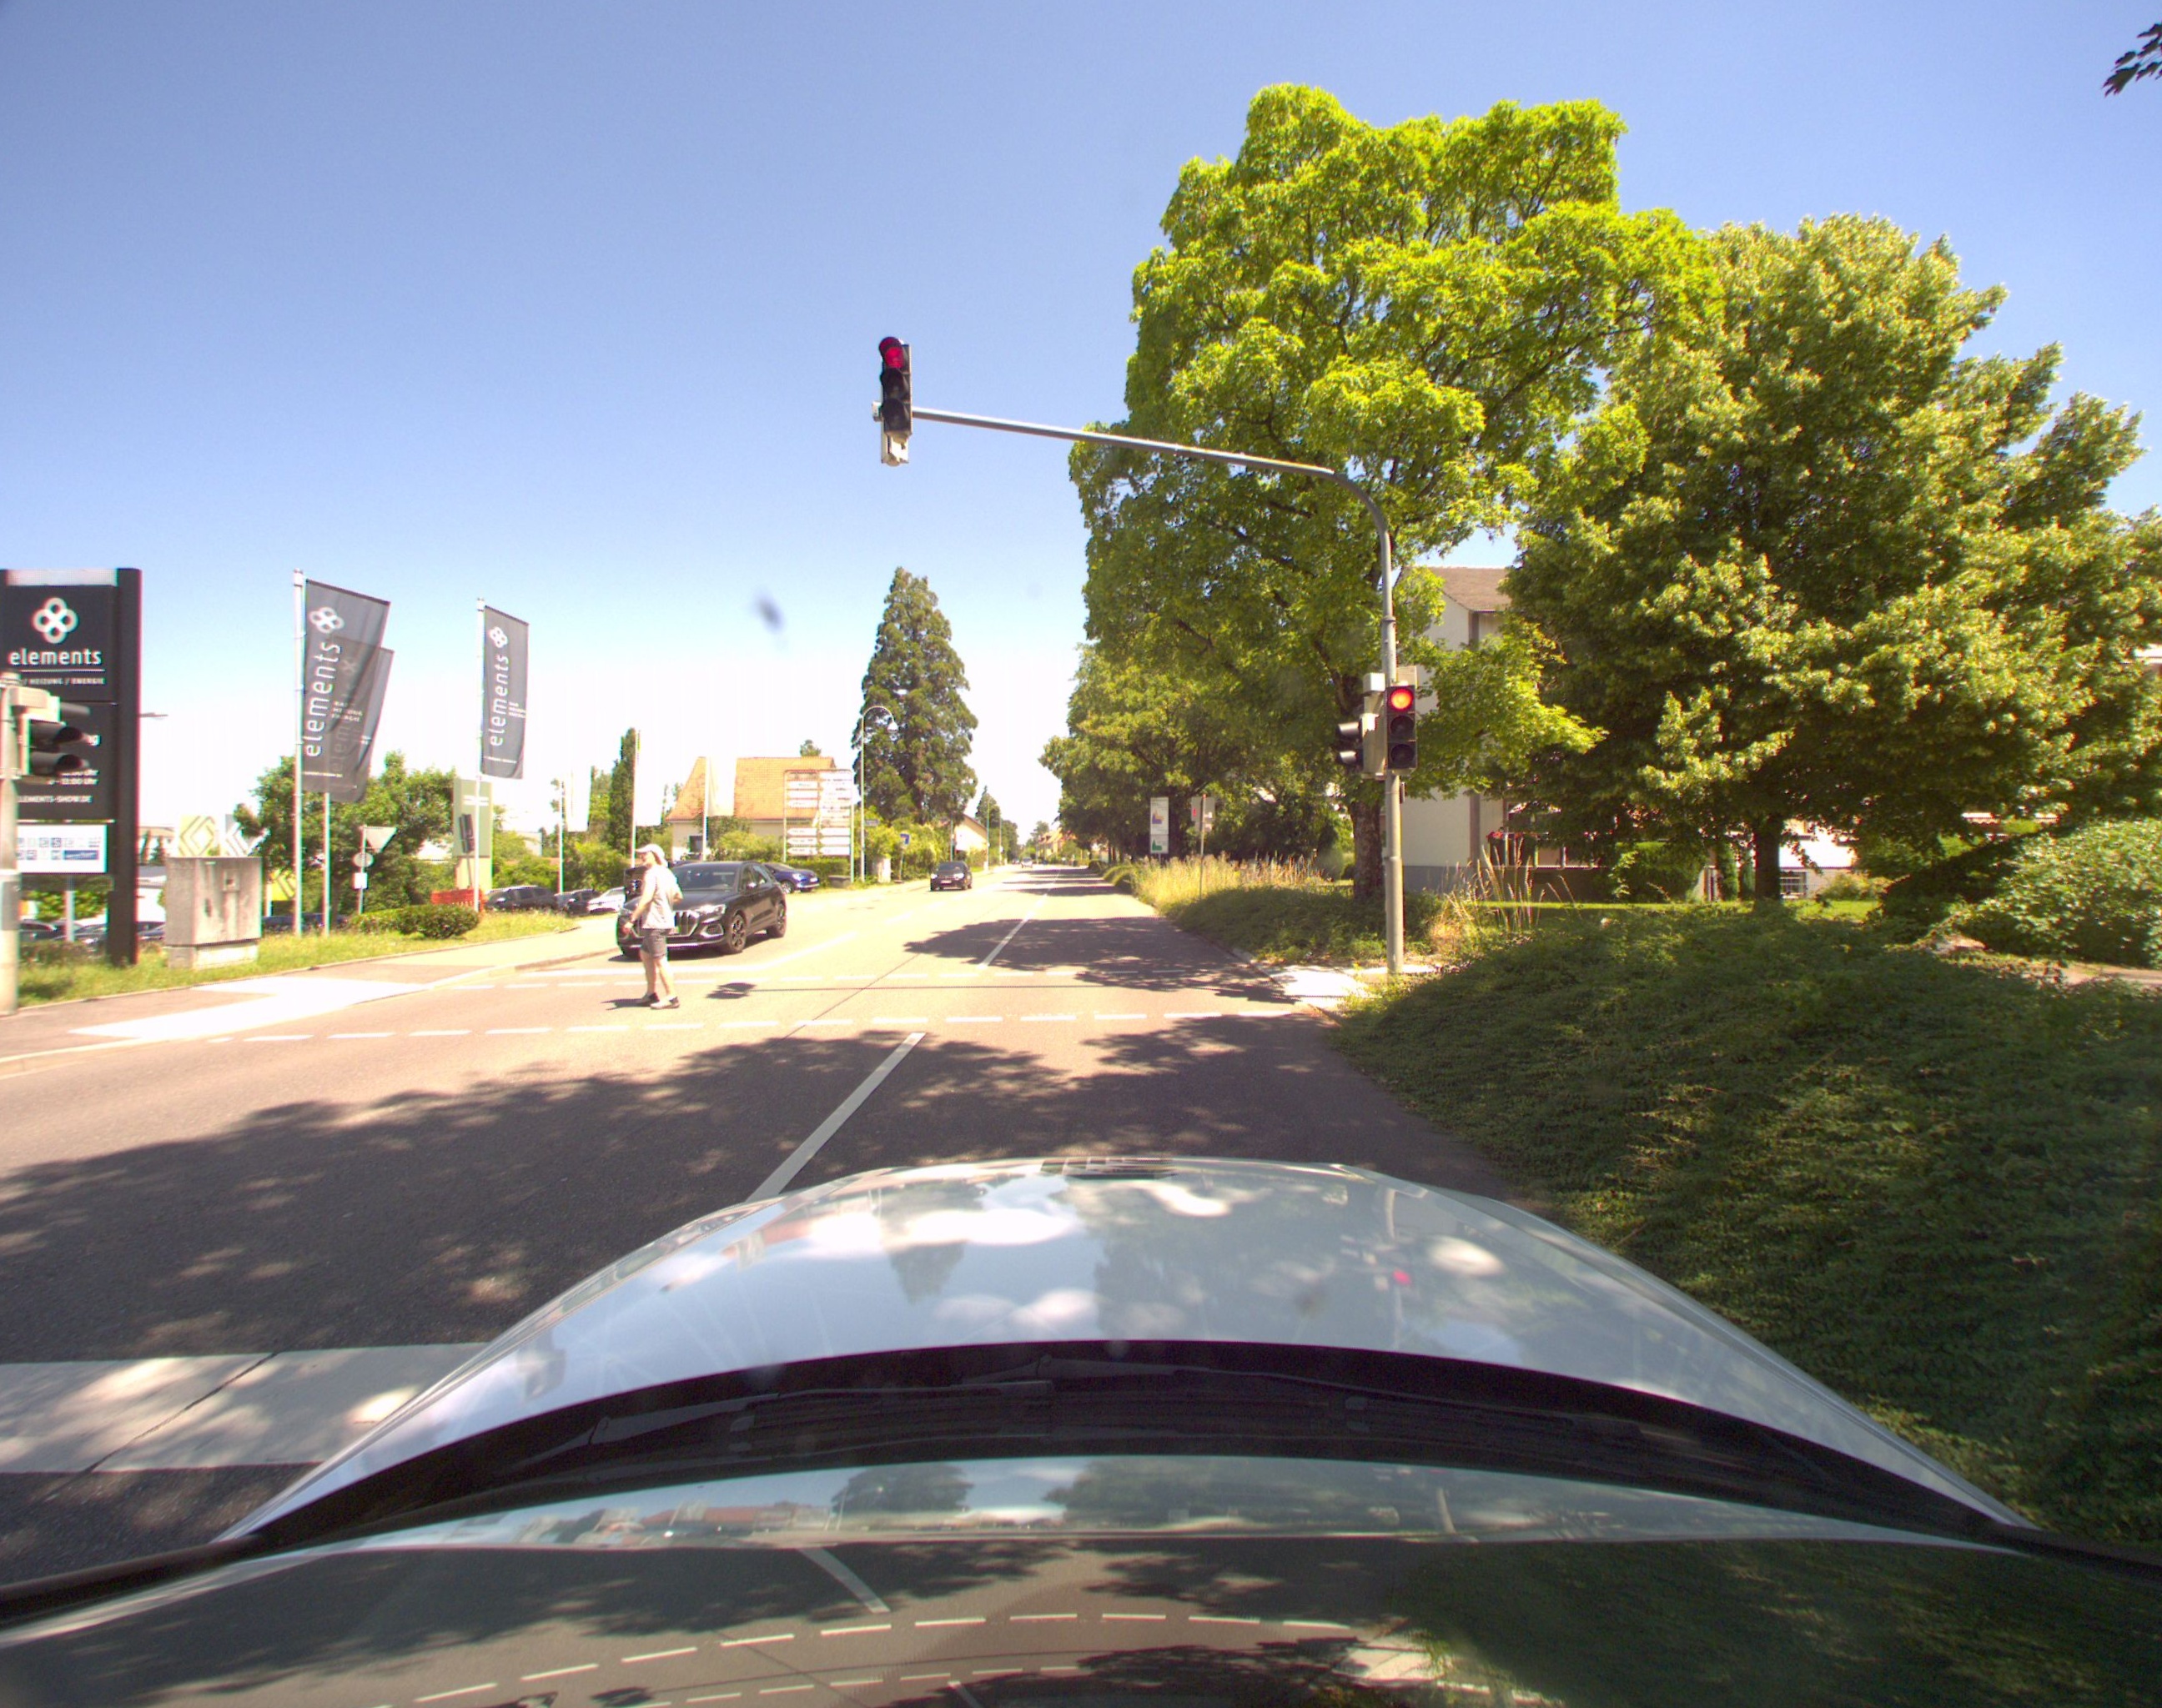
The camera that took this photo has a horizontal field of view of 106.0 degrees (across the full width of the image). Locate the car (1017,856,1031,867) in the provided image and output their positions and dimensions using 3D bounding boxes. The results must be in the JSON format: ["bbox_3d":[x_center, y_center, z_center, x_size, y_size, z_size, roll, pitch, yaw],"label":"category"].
[{"bbox_3d":[-9.338,1.234,133.116,1.804,1.762,4.571,0,0,1],"label":"car"}]

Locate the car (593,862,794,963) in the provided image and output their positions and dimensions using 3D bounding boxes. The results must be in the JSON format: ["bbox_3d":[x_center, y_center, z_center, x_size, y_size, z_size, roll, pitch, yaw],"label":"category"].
[{"bbox_3d":[-6.893,0.942,15.063,1.923,1.555,4.295,-1,0,-5],"label":"car"}]

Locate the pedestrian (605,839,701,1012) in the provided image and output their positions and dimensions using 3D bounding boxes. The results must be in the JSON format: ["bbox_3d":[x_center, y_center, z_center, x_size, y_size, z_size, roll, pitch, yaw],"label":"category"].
[{"bbox_3d":[-4.566,0.729,8.701,0.538,1.761,0.706,-1,-1,28],"label":"pedestrian"}]

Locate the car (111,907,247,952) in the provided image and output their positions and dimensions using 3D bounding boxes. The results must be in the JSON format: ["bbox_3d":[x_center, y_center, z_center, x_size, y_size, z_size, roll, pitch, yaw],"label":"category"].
[{"bbox_3d":[-37.253,3.079,33.808,1.754,1.486,3.983,-1,0,-12],"label":"car"}]

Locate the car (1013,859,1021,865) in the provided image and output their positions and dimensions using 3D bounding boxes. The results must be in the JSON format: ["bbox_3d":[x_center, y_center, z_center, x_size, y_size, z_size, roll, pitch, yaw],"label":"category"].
[{"bbox_3d":[-17.055,2.151,217.538,1.817,1.552,3.997,-1,0,-2],"label":"car"}]

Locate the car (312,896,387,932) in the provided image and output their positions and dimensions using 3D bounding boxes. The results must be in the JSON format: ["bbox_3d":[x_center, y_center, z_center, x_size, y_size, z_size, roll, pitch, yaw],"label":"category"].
[{"bbox_3d":[-40.523,3.291,45.213,1.816,1.722,4.059,0,0,-22],"label":"car"}]

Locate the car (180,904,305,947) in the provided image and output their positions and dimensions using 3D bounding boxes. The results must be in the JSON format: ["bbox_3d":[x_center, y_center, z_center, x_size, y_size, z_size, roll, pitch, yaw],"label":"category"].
[{"bbox_3d":[-34.446,2.913,33.602,1.648,1.415,3.853,-1,0,-11],"label":"car"}]

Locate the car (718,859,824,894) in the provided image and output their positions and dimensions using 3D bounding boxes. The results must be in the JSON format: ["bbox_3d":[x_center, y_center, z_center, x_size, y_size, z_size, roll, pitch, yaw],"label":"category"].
[{"bbox_3d":[-13.922,1.005,36.670,4.109,1.504,1.782,-1,0,10],"label":"car"}]

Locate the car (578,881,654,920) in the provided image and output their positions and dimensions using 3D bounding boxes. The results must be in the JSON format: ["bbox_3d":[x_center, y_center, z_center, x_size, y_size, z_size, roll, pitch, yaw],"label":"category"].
[{"bbox_3d":[-23.352,2.291,41.078,1.806,1.722,4.081,0,0,-6],"label":"car"}]

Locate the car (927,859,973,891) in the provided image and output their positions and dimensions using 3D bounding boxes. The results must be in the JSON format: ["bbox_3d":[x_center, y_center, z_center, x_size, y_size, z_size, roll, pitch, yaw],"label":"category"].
[{"bbox_3d":[-6.665,1.057,41.796,1.864,1.507,4.049,-1,0,-2],"label":"car"}]

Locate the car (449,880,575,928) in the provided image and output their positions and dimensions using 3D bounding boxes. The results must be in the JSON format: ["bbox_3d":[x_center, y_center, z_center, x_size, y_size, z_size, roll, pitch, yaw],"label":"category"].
[{"bbox_3d":[-23.756,2.054,34.190,1.795,1.721,4.106,1,0,16],"label":"car"}]
